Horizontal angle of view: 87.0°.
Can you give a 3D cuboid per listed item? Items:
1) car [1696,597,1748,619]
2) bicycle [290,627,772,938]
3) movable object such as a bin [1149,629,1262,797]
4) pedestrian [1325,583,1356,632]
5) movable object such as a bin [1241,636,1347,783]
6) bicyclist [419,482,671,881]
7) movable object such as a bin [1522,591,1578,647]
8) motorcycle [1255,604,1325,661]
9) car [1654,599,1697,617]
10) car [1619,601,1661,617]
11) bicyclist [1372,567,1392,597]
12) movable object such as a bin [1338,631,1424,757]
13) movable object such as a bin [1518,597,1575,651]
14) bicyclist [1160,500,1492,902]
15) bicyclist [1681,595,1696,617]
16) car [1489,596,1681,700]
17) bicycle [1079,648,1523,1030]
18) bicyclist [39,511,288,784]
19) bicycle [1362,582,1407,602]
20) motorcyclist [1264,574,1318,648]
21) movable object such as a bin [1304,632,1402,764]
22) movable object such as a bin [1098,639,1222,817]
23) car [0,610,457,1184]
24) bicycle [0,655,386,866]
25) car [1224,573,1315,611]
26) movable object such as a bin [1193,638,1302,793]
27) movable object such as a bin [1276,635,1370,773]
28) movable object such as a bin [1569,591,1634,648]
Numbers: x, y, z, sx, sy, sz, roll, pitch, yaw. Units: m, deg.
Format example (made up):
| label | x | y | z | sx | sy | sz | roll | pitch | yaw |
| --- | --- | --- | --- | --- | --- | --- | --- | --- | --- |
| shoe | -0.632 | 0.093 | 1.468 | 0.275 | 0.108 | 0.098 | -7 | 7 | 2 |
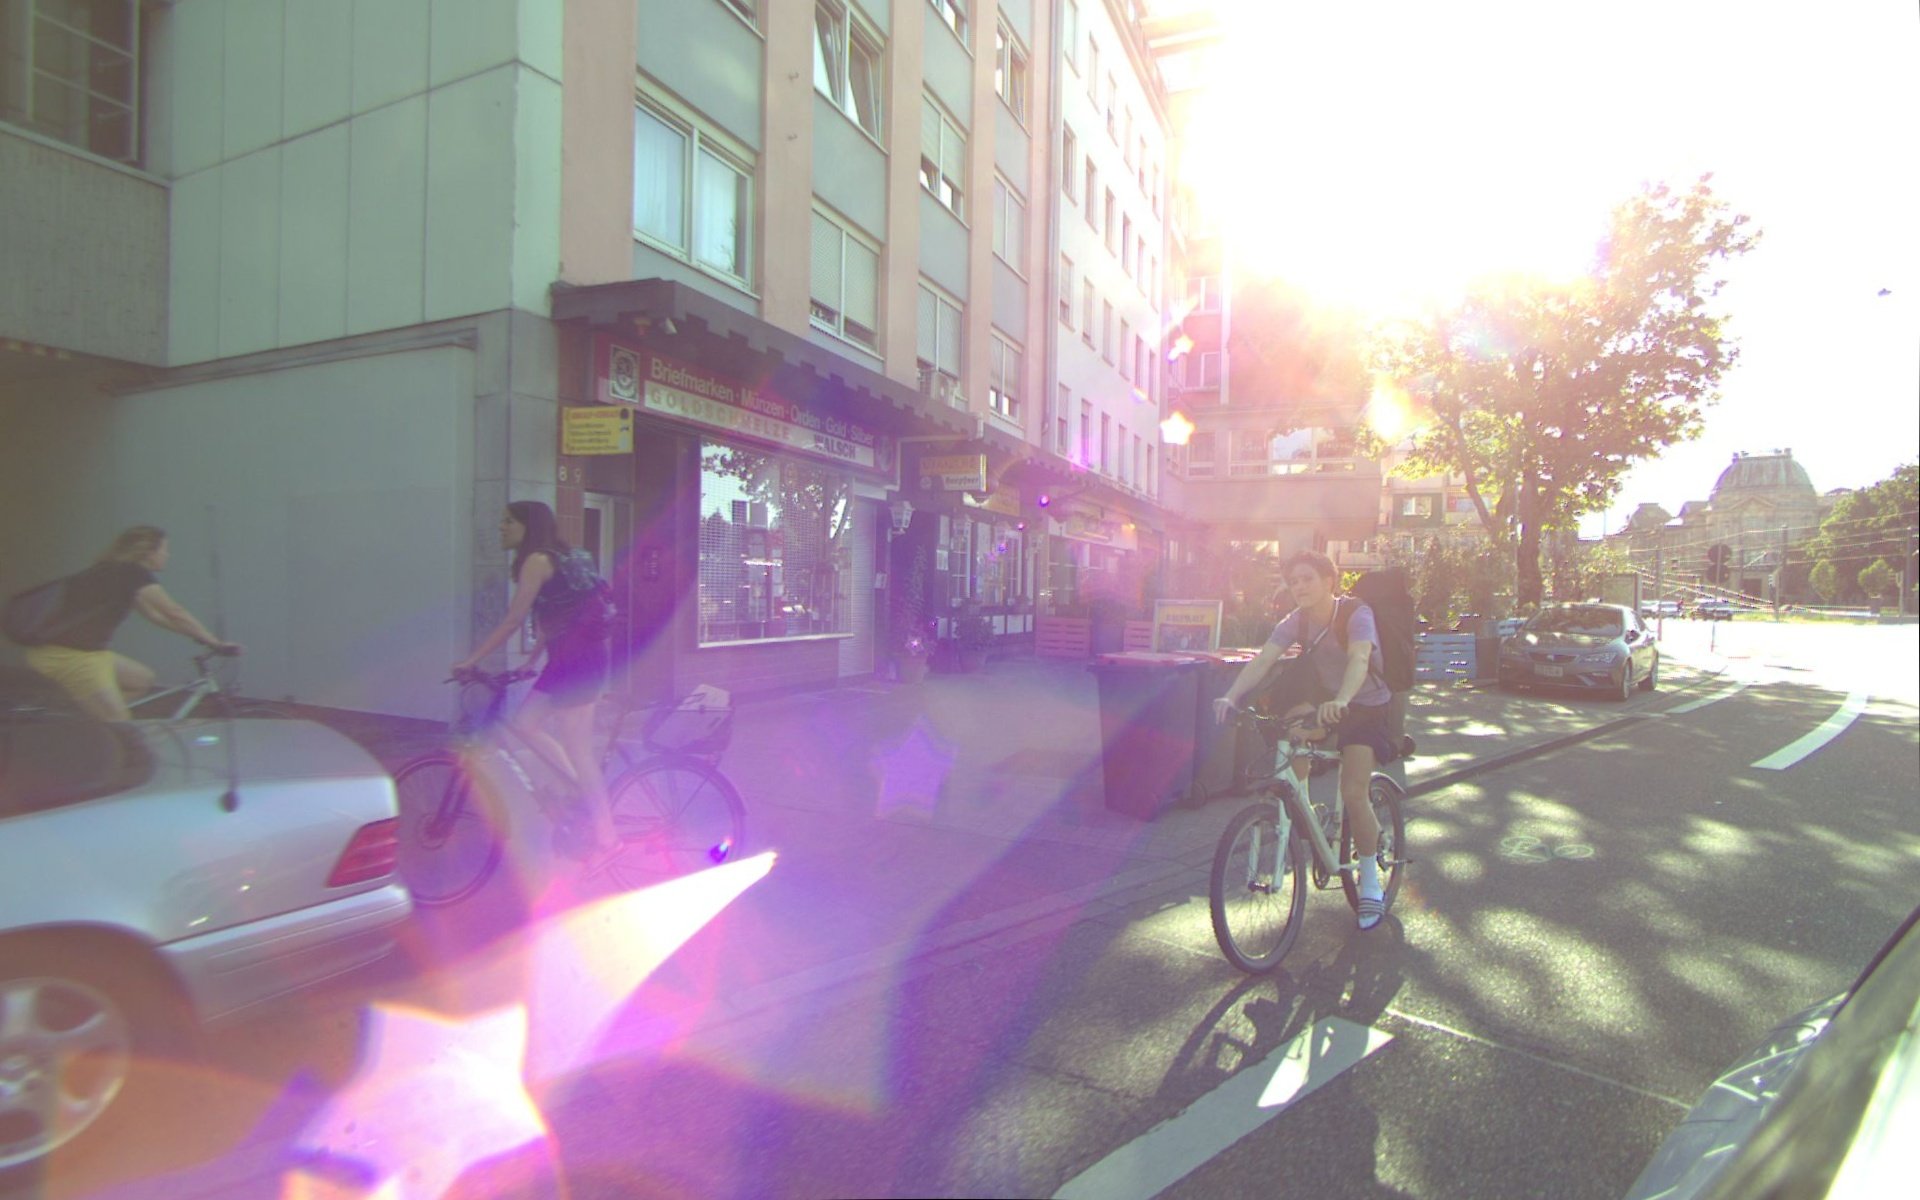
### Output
| label | x | y | z | sx | sy | sz | roll | pitch | yaw |
| --- | --- | --- | --- | --- | --- | --- | --- | --- | --- |
| car | 56.444 | 0.585 | 75.064 | 1.976 | 1.556 | 4.325 | -1 | 0 | 22 |
| bicycle | -1.876 | 0.761 | 4.736 | 1.923 | 1.200 | 0.824 | -1 | 0 | -12 |
| movable object such as a bin | 1.769 | 0.785 | 7.306 | 0.610 | 1.119 | 0.518 | -1 | 0 | 43 |
| pedestrian | 14.876 | 0.291 | 39.605 | 0.826 | 1.868 | 0.877 | -1 | 0 | 45 |
| movable object such as a bin | 2.683 | 0.850 | 8.129 | 0.606 | 1.082 | 0.604 | -1 | 0 | 43 |
| bicyclist | -1.876 | 0.327 | 4.746 | 0.916 | 1.654 | 0.944 | -1 | 0 | -11 |
| movable object such as a bin | 18.232 | 0.568 | 31.305 | 1.369 | 1.660 | 1.001 | 0 | 0 | 22 |
| motorcycle | 7.217 | 0.676 | 22.056 | 0.774 | 1.140 | 2.267 | -1 | 0 | 37 |
| car | 59.940 | 0.662 | 84.813 | 1.976 | 1.447 | 4.102 | -1 | 0 | 22 |
| car | 56.114 | 0.718 | 83.562 | 1.965 | 1.308 | 4.361 | 1 | 0 | 22 |
| bicyclist | 22.302 | -0.957 | 53.482 | 0.924 | 1.580 | 0.935 | -1 | 0 | 21 |
| movable object such as a bin | 3.923 | 0.849 | 9.428 | 0.573 | 1.096 | 0.561 | -1 | 0 | 43 |
| movable object such as a bin | 15.391 | 0.612 | 26.597 | 1.163 | 1.373 | 0.920 | -1 | 0 | 24 |
| bicyclist | 1.614 | 0.371 | 4.498 | 0.971 | 1.503 | 1.039 | -1 | 0 | -41 |
| bicyclist | 57.564 | 0.457 | 80.012 | 0.694 | 1.752 | 0.849 | -1 | 0 | 17 |
| car | 10.476 | 0.707 | 16.805 | 1.766 | 1.456 | 4.510 | 2 | 1 | 44 |
| bicycle | 1.591 | 0.853 | 4.467 | 2.190 | 1.150 | 0.887 | -1 | 0 | -42 |
| bicyclist | -4.386 | 0.227 | 5.587 | 0.758 | 1.343 | 0.979 | -1 | 0 | 44 |
| bicycle | 22.398 | -0.406 | 53.442 | 2.122 | 1.013 | 0.855 | -1 | 0 | 21 |
| motorcyclist | 7.202 | 0.238 | 22.025 | 0.895 | 1.571 | 0.795 | -1 | 0 | 37 |
| movable object such as a bin | 3.482 | 0.841 | 8.962 | 0.619 | 1.082 | 0.601 | -1 | 0 | 43 |
| movable object such as a bin | 1.364 | 0.833 | 6.886 | 0.592 | 1.097 | 0.595 | -1 | 0 | 44 |
| car | -3.852 | 0.759 | 2.306 | 4.522 | 1.361 | 1.853 | -1 | 0 | -43 |
| bicycle | -4.361 | 0.819 | 5.557 | 0.534 | 0.903 | 2.038 | -1 | 0 | 43 |
| car | 19.498 | -0.512 | 63.794 | 5.204 | 2.226 | 2.355 | 2 | 0 | 27 |
| movable object such as a bin | 2.182 | 0.844 | 7.683 | 0.604 | 1.082 | 0.537 | -1 | 0 | 43 |
| movable object such as a bin | 3.071 | 0.850 | 8.559 | 0.591 | 1.082 | 0.488 | -1 | 0 | 43 |
| movable object such as a bin | 16.378 | 0.494 | 25.848 | 1.279 | 1.409 | 0.908 | -1 | 0 | 41 |
